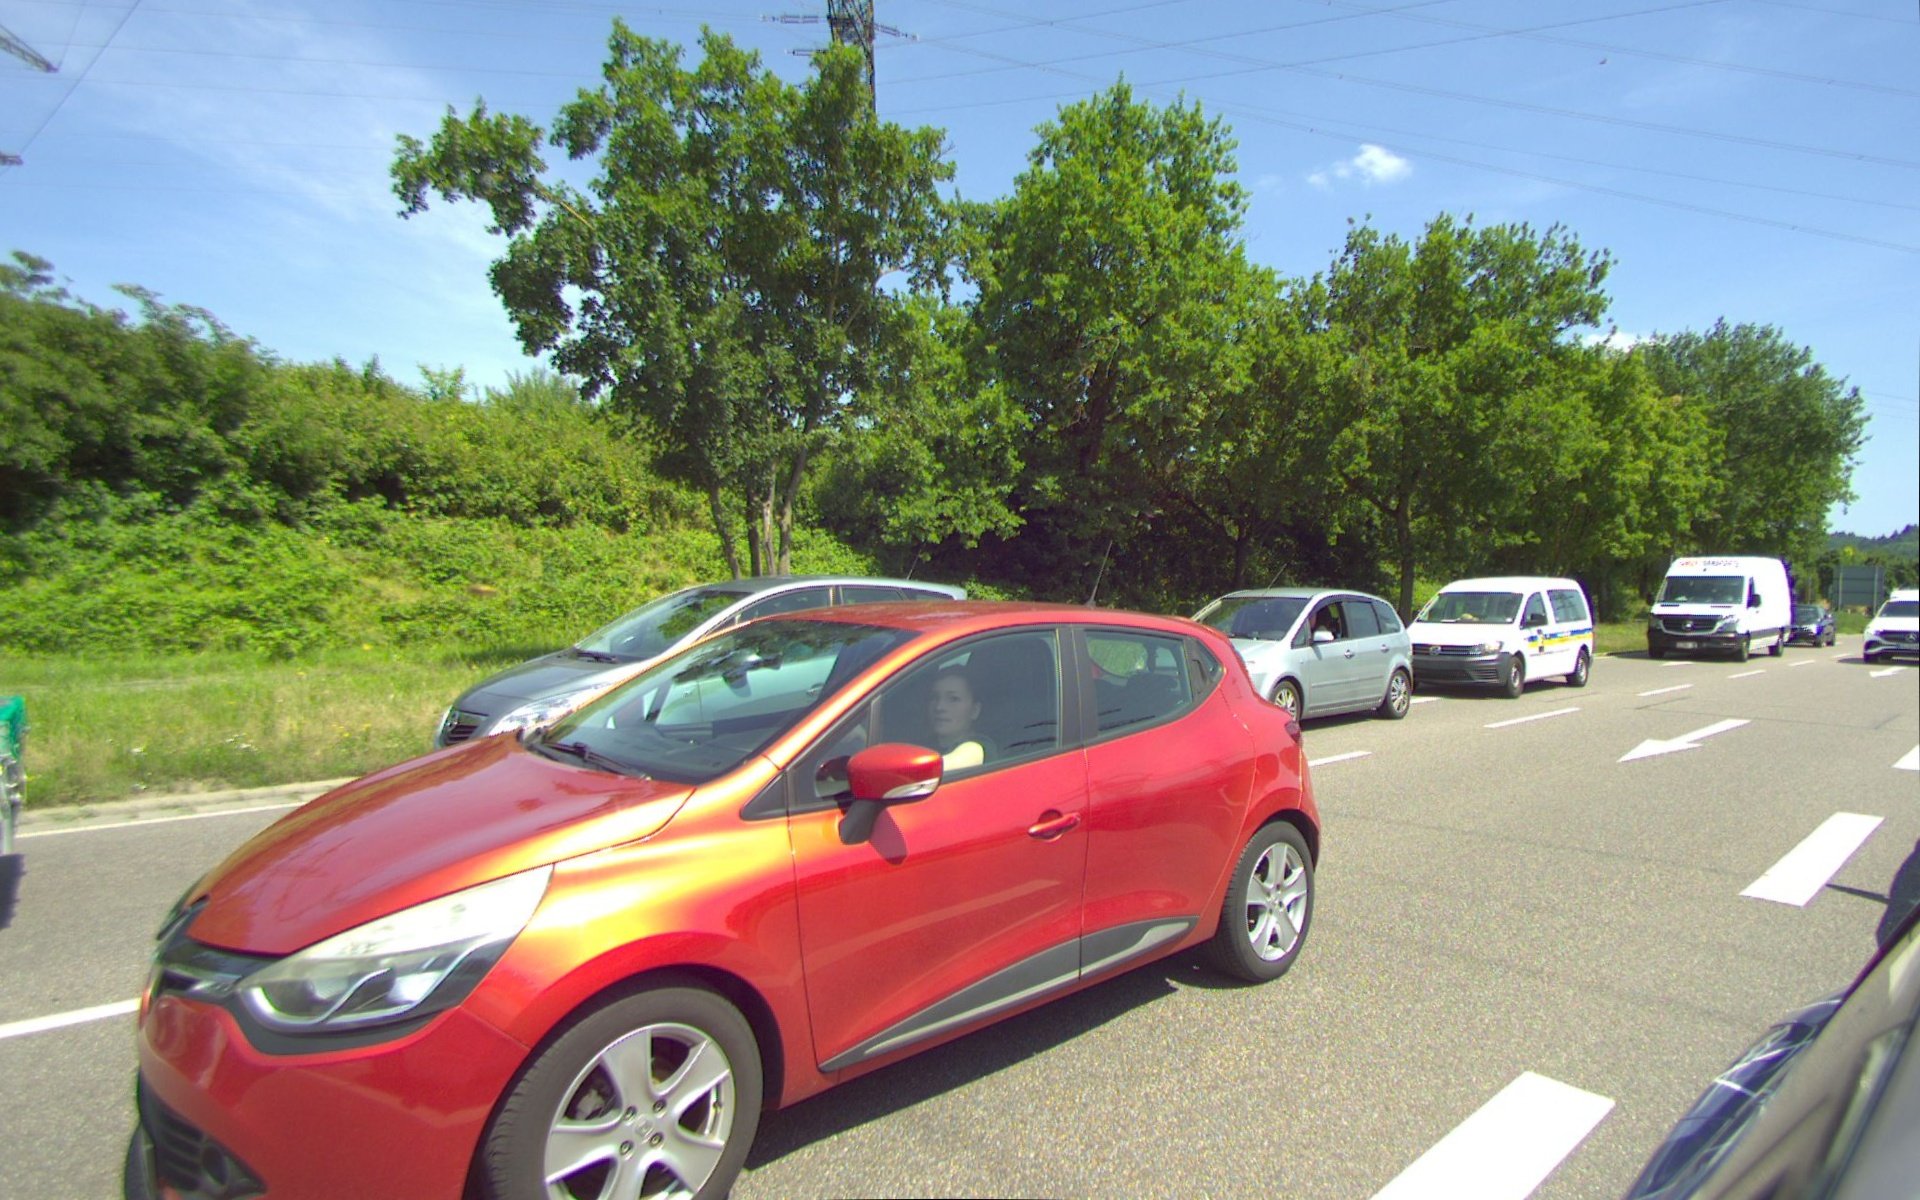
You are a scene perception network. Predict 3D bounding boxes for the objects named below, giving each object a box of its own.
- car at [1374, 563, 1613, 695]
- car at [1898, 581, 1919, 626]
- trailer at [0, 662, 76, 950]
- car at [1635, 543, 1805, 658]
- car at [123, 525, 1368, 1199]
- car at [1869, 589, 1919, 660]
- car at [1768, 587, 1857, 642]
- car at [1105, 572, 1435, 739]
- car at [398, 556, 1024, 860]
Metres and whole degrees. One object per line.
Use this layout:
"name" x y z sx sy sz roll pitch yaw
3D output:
"car" 8.717 0.393 16.319 4.950 1.823 1.807 0 0 -42
"car" 54.572 0.183 56.725 5.712 2.453 2.306 0 0 -41
"trailer" -5.379 0.846 3.653 3.266 1.019 1.709 0 0 -41
"car" 19.895 0.007 26.324 6.897 2.640 2.230 0 0 -42
"car" -0.355 0.616 3.586 3.994 1.480 1.746 0 0 -41
"car" 23.409 0.556 24.288 4.287 1.588 1.849 0 0 -41
"car" 28.899 0.434 34.279 3.933 1.705 1.875 -1 1 -43
"car" 3.746 0.529 11.845 4.197 1.614 1.746 0 0 -41
"car" -1.618 0.556 7.400 4.092 1.615 1.768 0 1 -41
